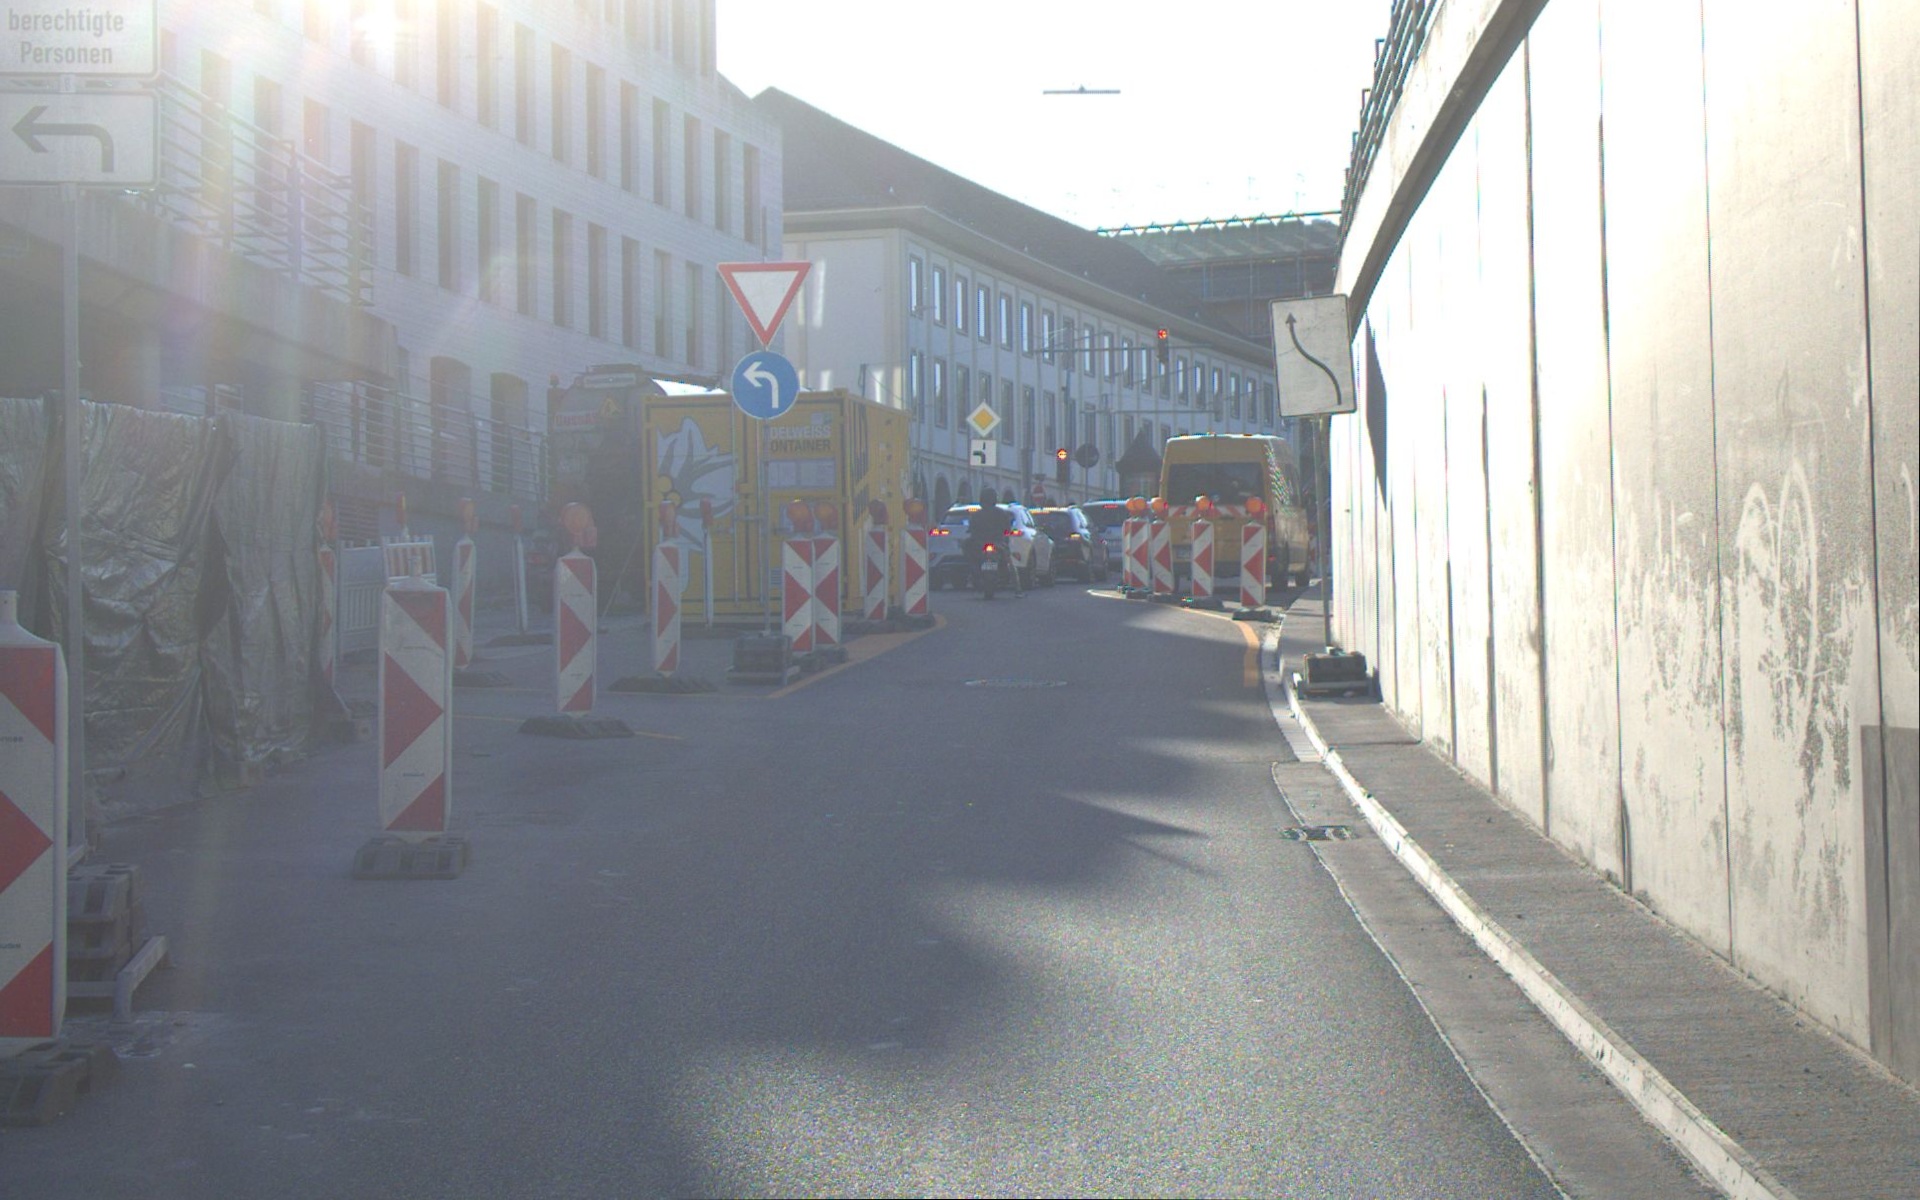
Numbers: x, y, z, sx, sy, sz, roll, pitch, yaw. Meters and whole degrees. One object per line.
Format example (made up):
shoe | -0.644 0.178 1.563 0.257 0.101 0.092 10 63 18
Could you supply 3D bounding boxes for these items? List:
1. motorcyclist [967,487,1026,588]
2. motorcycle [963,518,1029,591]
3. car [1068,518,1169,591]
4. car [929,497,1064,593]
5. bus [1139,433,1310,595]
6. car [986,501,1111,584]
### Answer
motorcyclist | 0.560 -0.944 52.477 0.804 1.499 0.776 0 -2 7
motorcycle | 0.565 -0.687 52.506 0.771 0.989 2.183 0 -2 7
car | 3.470 -0.985 74.701 1.857 1.528 3.999 1 0 7
car | 0.673 -0.937 59.474 1.776 1.599 3.999 1 0 9
bus | 4.381 -1.390 56.323 2.226 2.548 4.425 0 1 12
car | 1.724 -1.079 65.890 1.821 1.528 3.998 1 0 10
